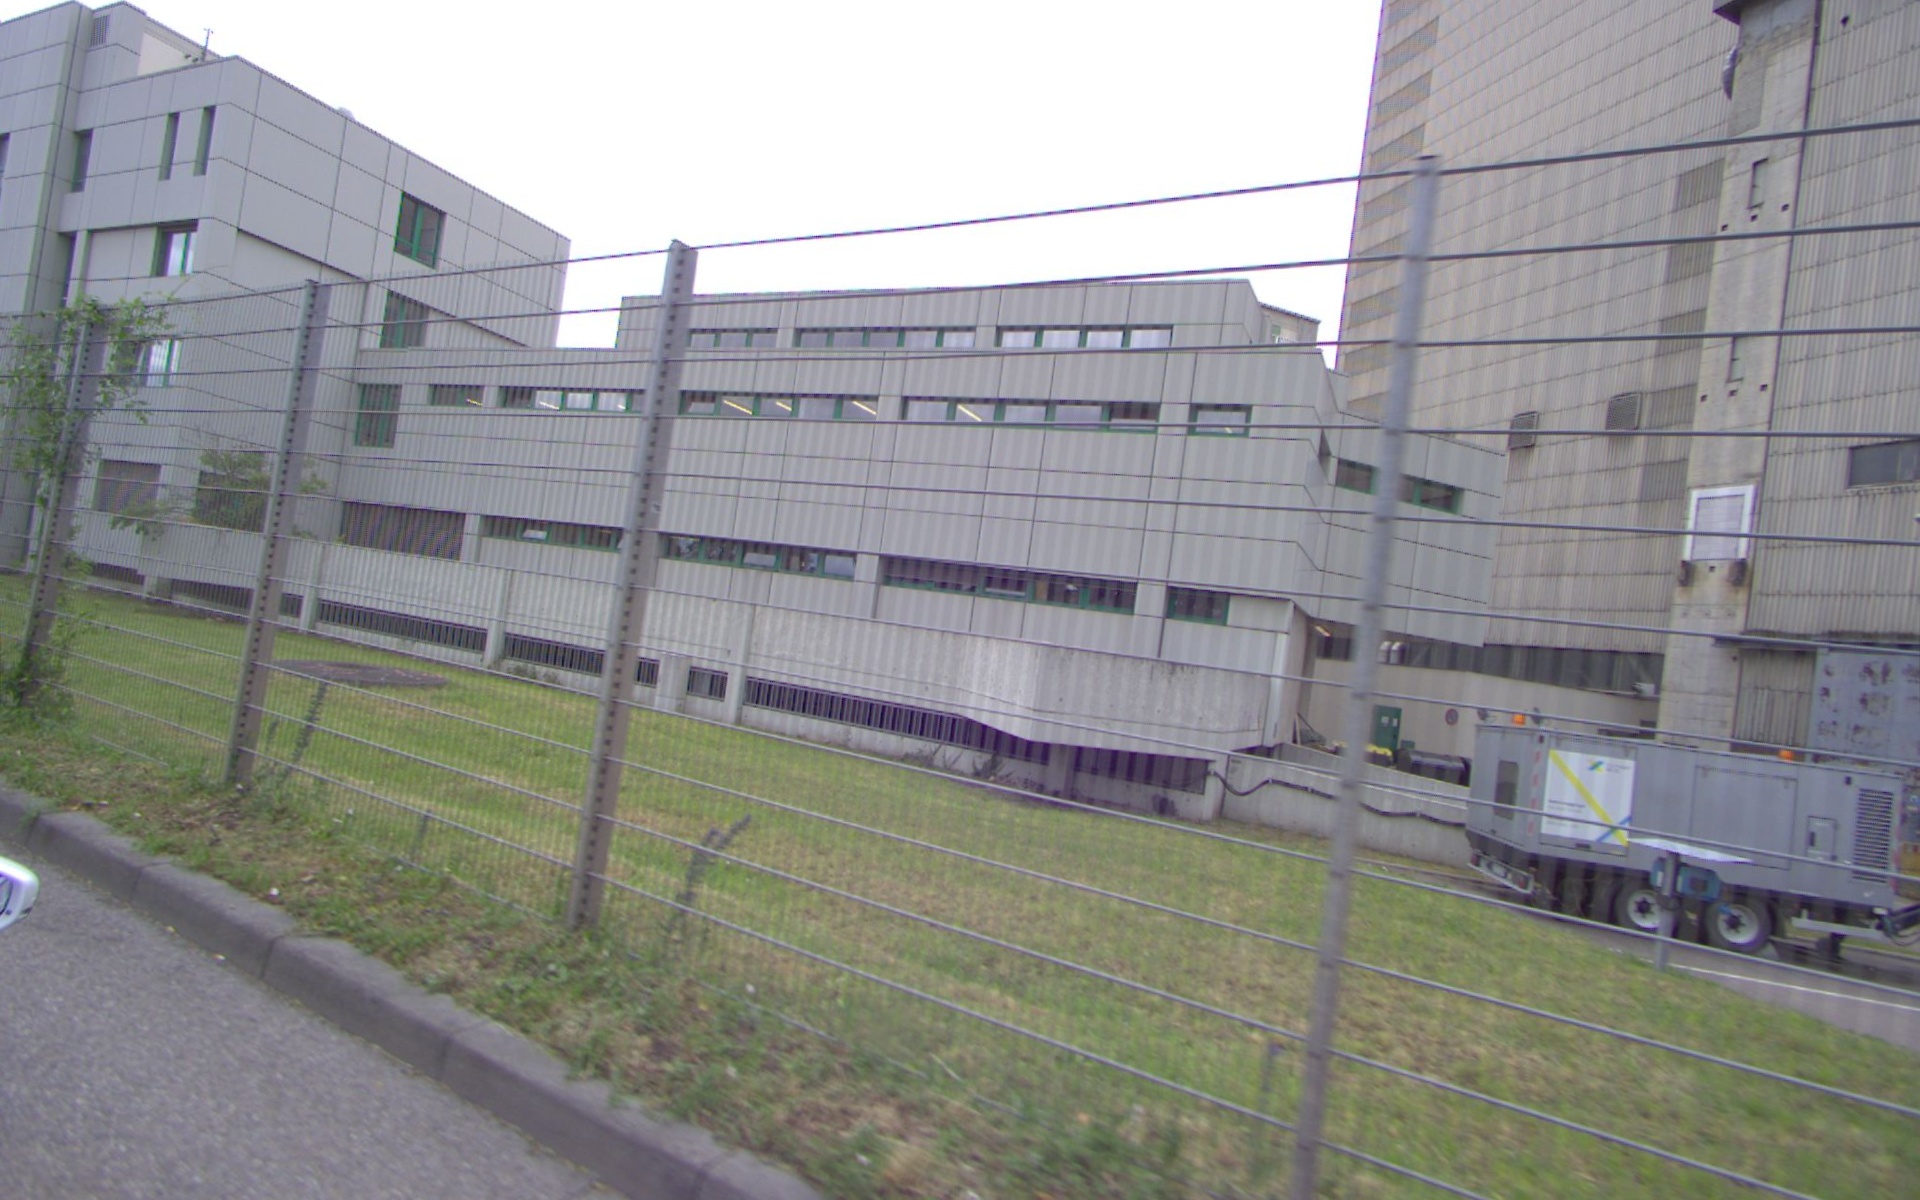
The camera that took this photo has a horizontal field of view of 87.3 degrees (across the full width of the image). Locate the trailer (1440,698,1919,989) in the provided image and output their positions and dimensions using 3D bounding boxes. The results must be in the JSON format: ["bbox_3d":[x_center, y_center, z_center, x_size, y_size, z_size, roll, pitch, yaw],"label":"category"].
[{"bbox_3d":[10.068,3.054,12.929,6.311,2.571,2.670,8,-3,12],"label":"trailer"}]
